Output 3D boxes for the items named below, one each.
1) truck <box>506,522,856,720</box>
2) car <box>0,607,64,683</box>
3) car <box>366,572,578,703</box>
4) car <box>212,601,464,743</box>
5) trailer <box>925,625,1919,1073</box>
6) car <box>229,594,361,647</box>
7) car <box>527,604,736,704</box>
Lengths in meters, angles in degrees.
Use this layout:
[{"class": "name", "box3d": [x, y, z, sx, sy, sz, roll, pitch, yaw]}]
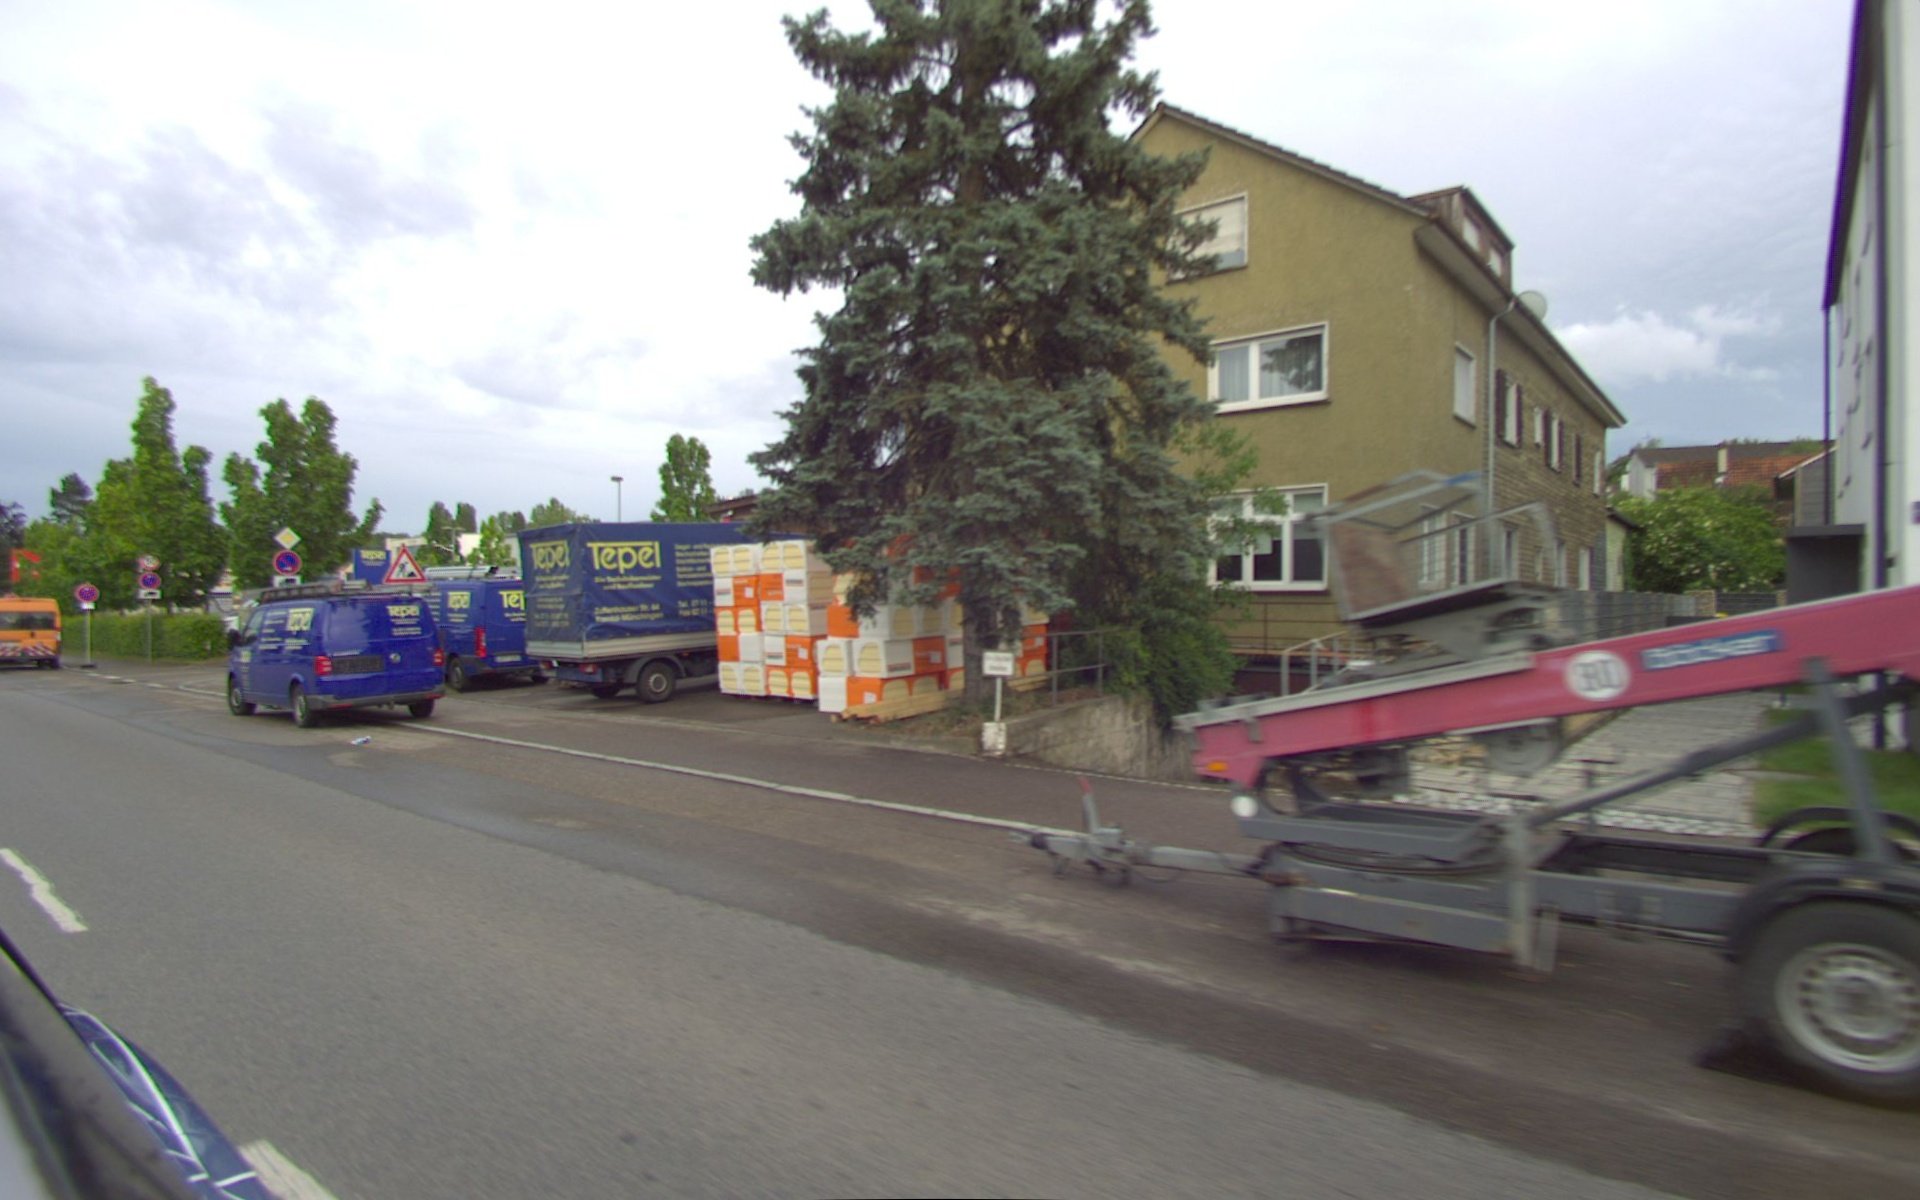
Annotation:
[{"class": "truck", "box3d": [-4.940, 0.278, 18.811, 2.449, 3.096, 5.850, -1, 1, 41]}, {"class": "car", "box3d": [-34.810, 1.634, 37.207, 6.019, 2.557, 2.102, -2, -1, 42]}, {"class": "car", "box3d": [-11.158, 0.761, 22.853, 6.199, 2.586, 2.054, -1, 0, 42]}, {"class": "car", "box3d": [-10.415, 1.066, 16.743, 5.362, 1.962, 1.973, -2, 0, 41]}, {"class": "trailer", "box3d": [2.387, 0.834, 4.544, 5.238, 1.270, 1.700, -4, -1, 39]}, {"class": "car", "box3d": [-28.071, 0.821, 42.809, 2.062, 2.029, 4.261, -1, 1, 41]}, {"class": "car", "box3d": [-6.679, 1.017, 20.817, 1.778, 1.763, 3.669, -1, 1, 42]}]
